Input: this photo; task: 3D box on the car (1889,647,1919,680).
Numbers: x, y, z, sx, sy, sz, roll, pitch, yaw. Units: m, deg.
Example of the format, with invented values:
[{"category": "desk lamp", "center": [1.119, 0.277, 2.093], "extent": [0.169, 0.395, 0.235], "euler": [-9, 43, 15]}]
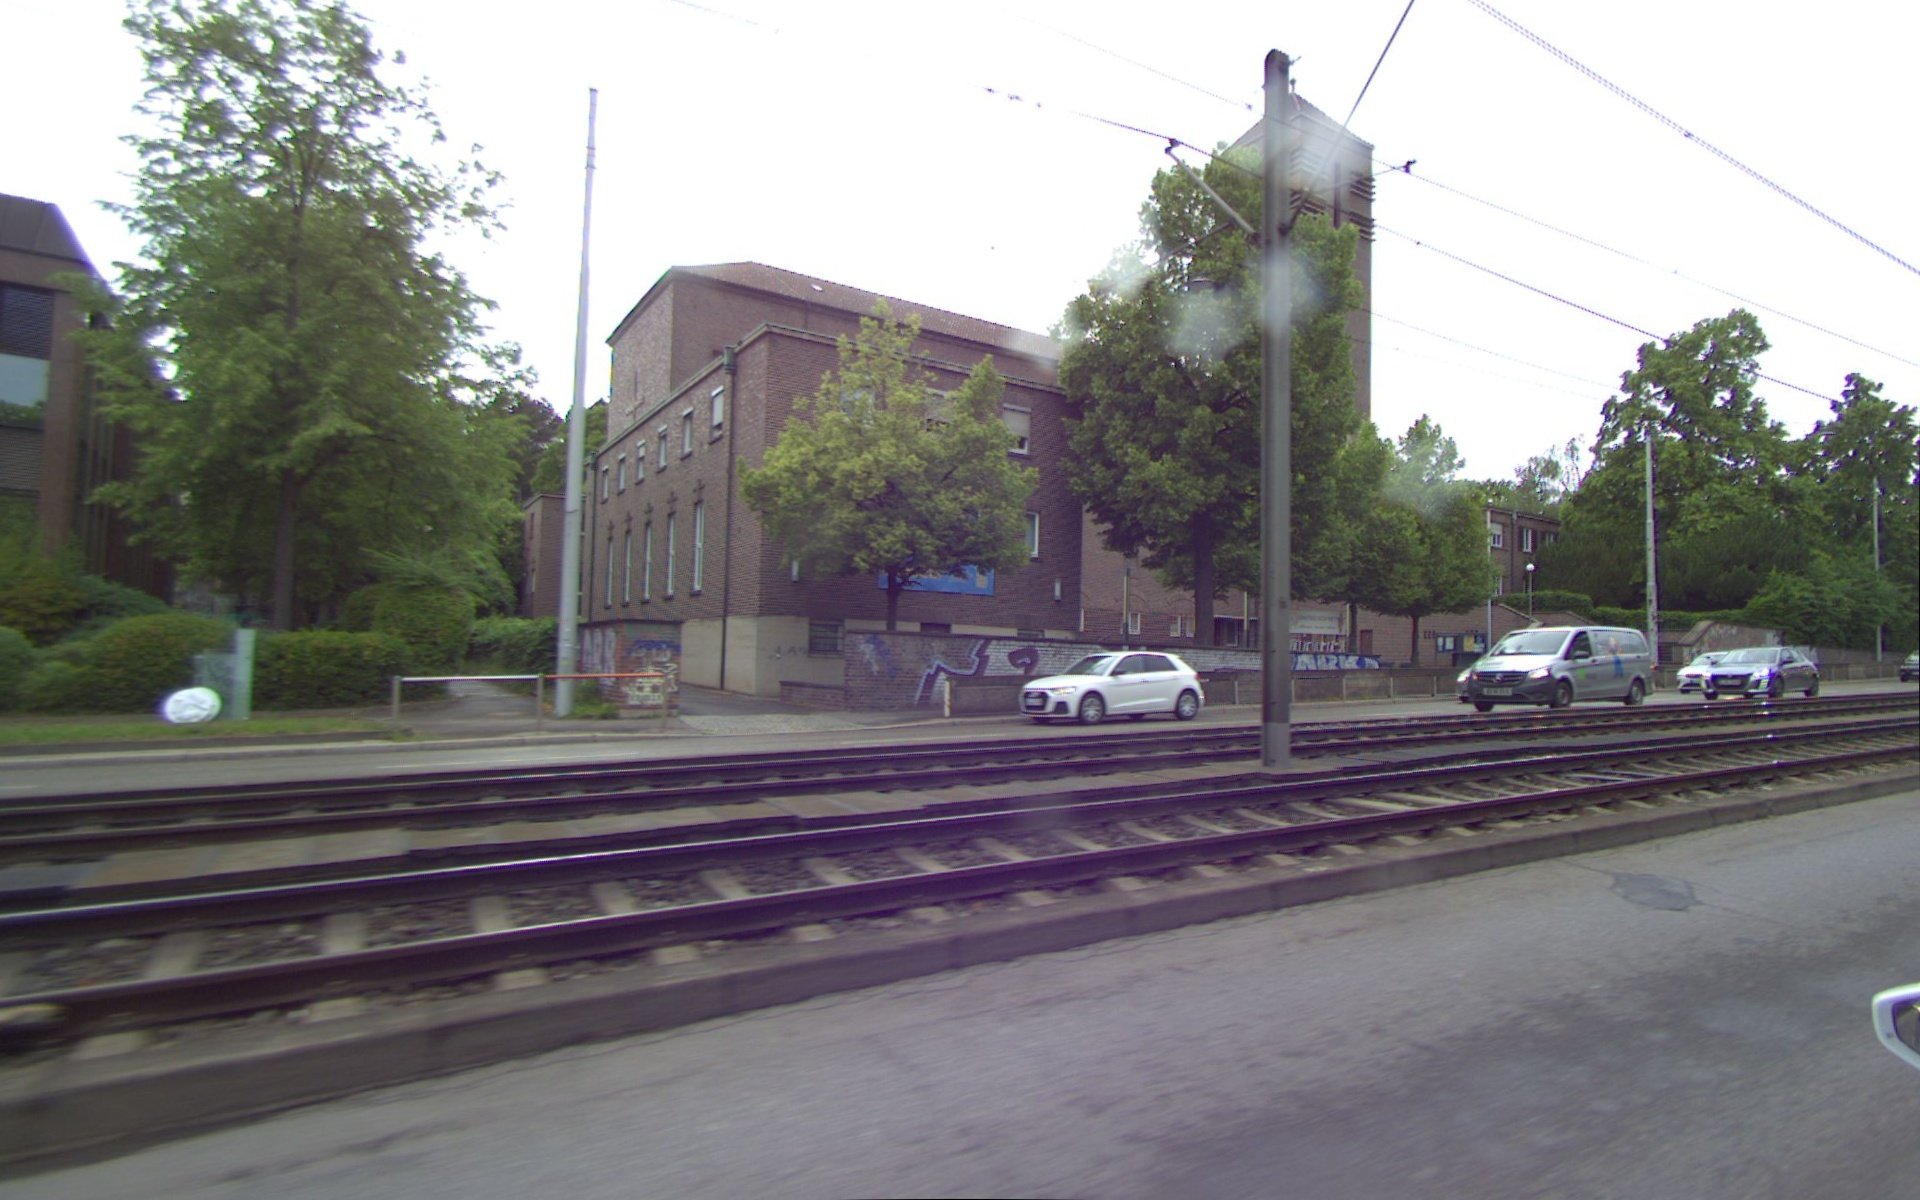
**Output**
[{"category": "car", "center": [45.013, 2.940, 46.789], "extent": [3.876, 1.487, 1.678], "euler": [2, -3, -33]}]

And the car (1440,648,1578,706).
[{"category": "car", "center": [15.352, 2.102, 28.065], "extent": [3.943, 1.487, 1.737], "euler": [2, -3, -33]}]

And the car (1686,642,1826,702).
[{"category": "car", "center": [22.420, 1.983, 28.249], "extent": [4.457, 1.552, 1.777], "euler": [2, -3, -33]}]

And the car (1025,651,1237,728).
[{"category": "car", "center": [3.566, 1.782, 20.689], "extent": [4.316, 1.435, 1.678], "euler": [2, -5, -33]}]

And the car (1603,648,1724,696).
[{"category": "car", "center": [23.493, 2.379, 33.489], "extent": [4.429, 1.486, 1.679], "euler": [2, -4, -32]}]

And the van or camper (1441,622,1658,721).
[{"category": "van or camper", "center": [13.298, 1.534, 22.523], "extent": [5.633, 1.985, 1.902], "euler": [2, -3, -33]}]
